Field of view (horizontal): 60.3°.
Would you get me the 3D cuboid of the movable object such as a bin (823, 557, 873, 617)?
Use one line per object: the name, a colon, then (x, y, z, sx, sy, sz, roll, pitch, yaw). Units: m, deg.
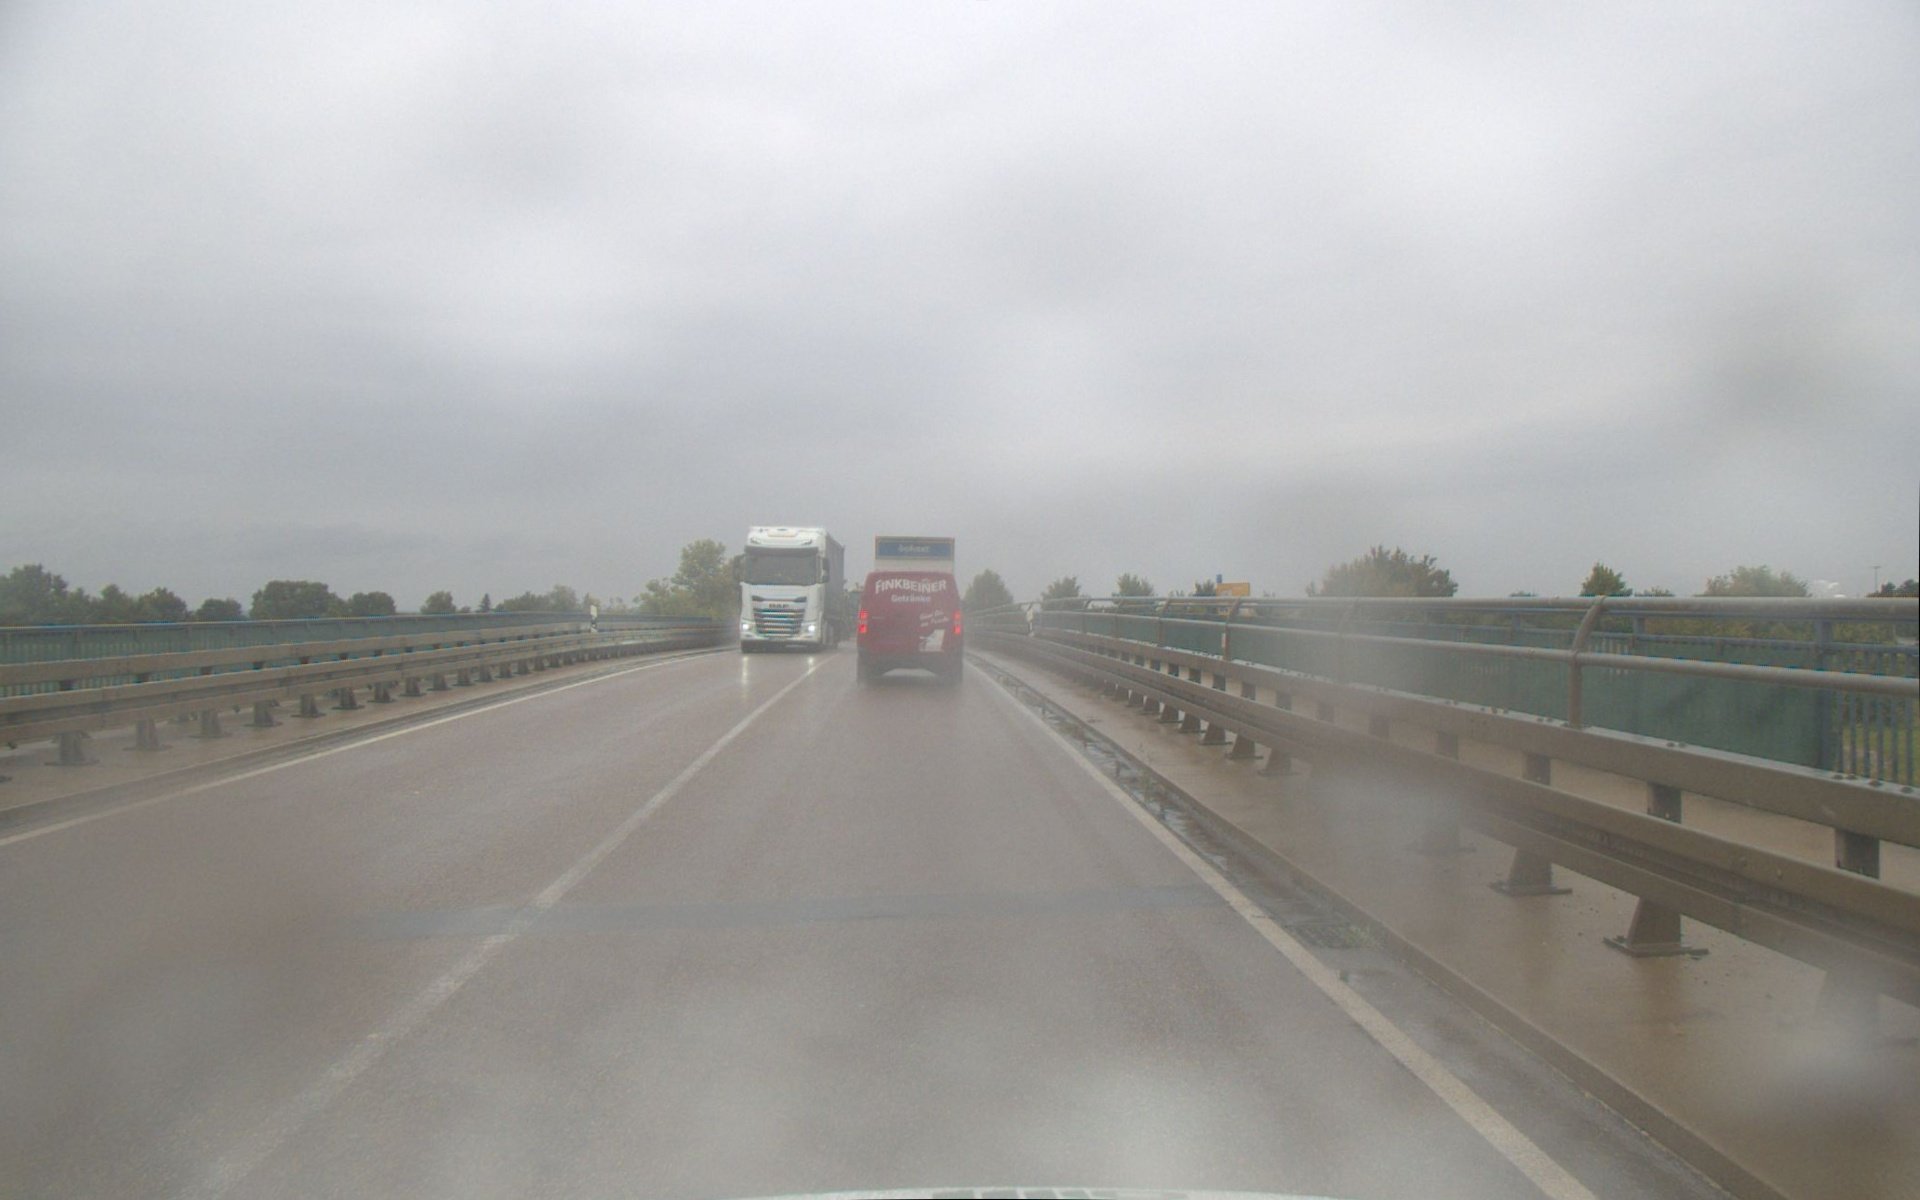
movable object such as a bin: (-6.692, -0.733, 99.495, 2.692, 3.506, 4.643, 0, 0, 0)

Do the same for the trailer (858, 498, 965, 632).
trailer: (-1.542, -1.050, 55.558, 3.136, 3.990, 8.738, 3, -1, -1)

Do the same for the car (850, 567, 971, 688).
car: (-0.916, 0.428, 29.366, 1.954, 1.959, 4.141, 1, 1, -3)

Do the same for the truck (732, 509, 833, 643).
truck: (-5.707, -0.717, 54.529, 2.761, 4.040, 8.759, 0, 0, -3)

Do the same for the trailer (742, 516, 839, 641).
trailer: (-5.968, -0.685, 60.291, 2.761, 4.039, 13.728, 0, 0, -3)
